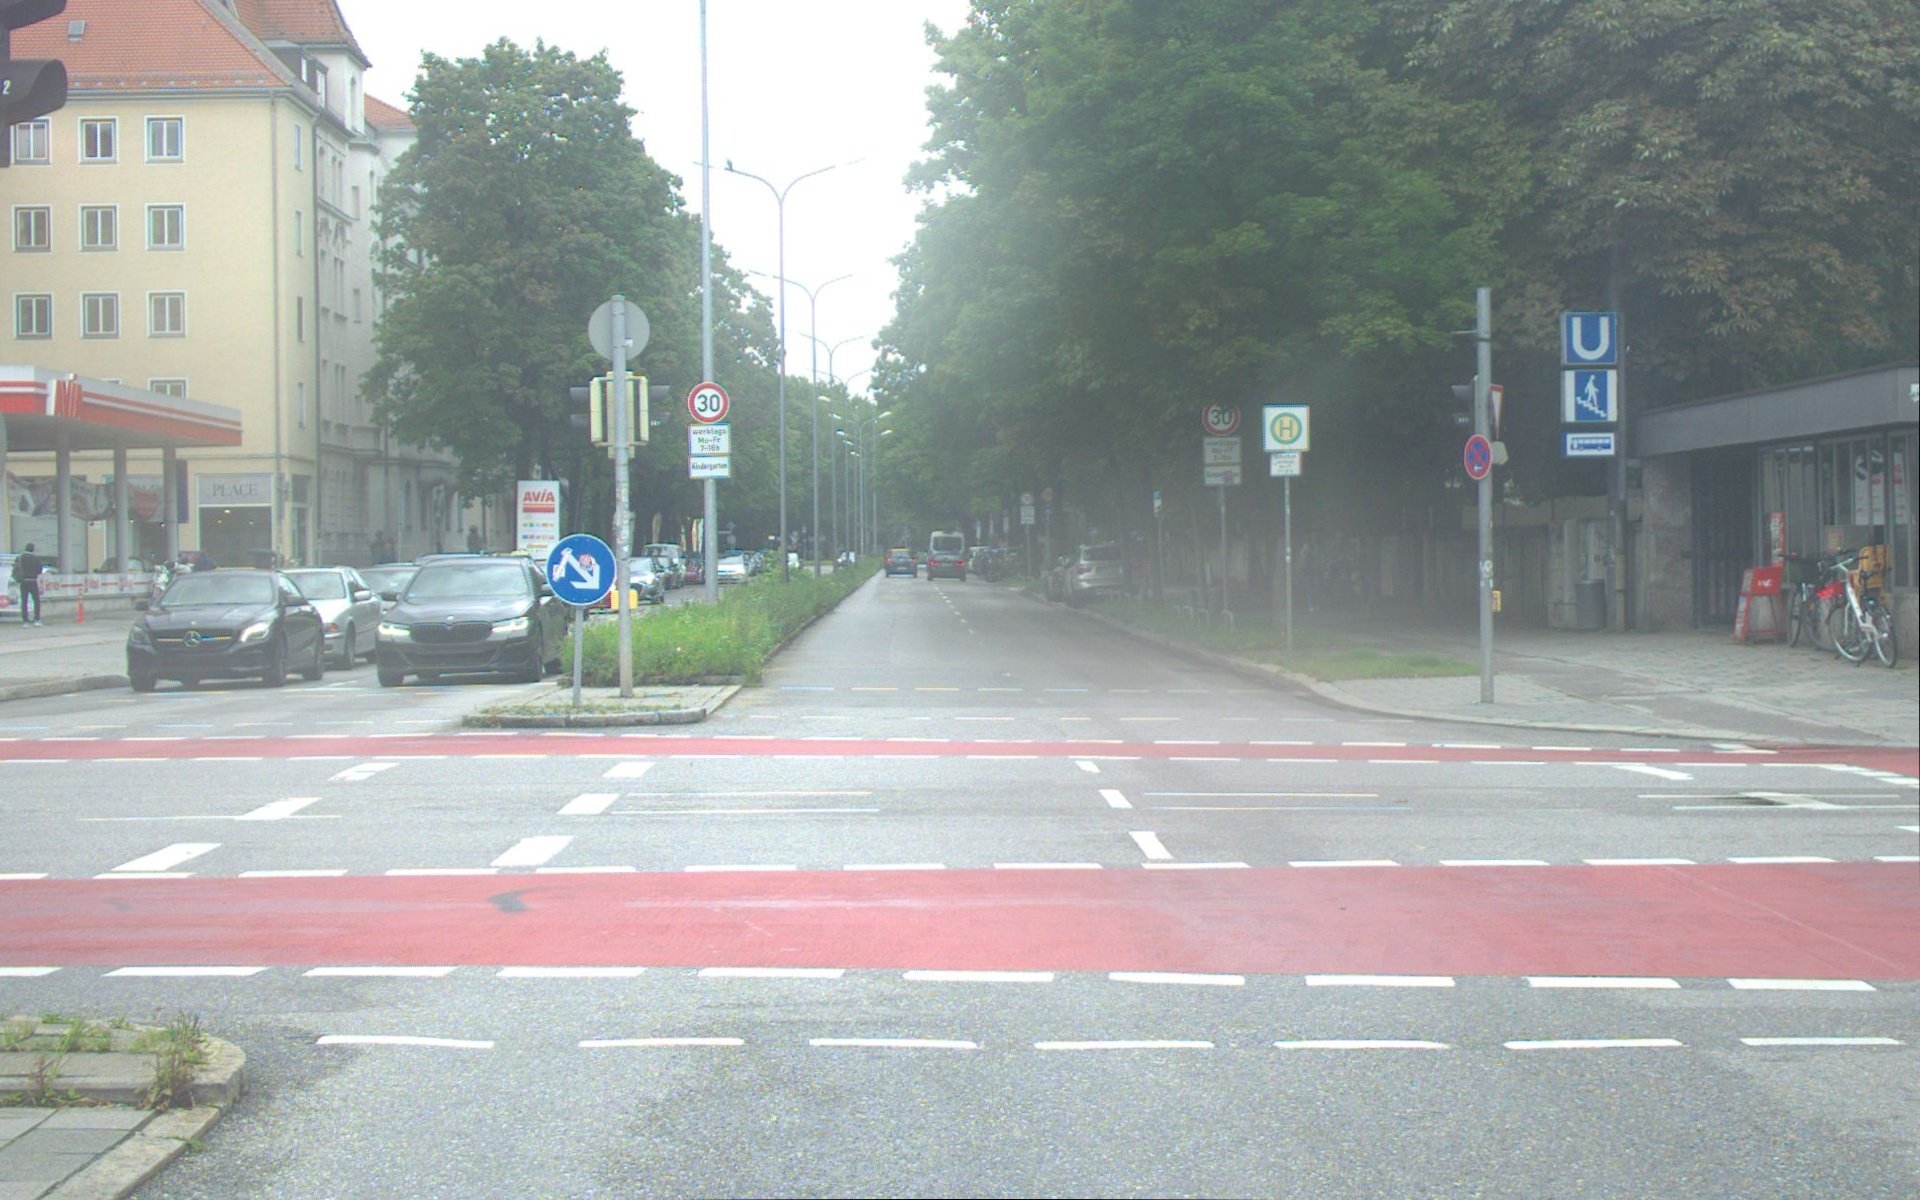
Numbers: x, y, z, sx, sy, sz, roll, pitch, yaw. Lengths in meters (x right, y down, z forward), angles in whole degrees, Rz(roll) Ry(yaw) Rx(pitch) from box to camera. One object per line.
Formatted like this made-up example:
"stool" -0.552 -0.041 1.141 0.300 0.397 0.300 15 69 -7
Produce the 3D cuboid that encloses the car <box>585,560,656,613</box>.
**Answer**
"car" -10.113 -0.419 102.600 1.759 1.488 4.000 -1 1 -1

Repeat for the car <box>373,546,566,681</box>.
"car" -5.731 0.119 40.544 1.759 1.488 4.000 -1 1 -1

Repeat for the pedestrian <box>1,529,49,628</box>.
"pedestrian" -19.316 -0.447 71.037 0.730 2.007 0.834 1 0 -1

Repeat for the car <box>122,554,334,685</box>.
"car" -8.759 0.196 41.444 1.759 1.455 4.000 -1 1 -1

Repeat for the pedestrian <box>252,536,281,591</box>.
"pedestrian" -20.631 -1.083 102.237 0.696 1.632 0.738 -1 1 -1

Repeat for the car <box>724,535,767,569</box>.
"car" -9.581 -2.147 153.675 1.759 1.455 4.000 -1 1 -1

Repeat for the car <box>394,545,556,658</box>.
"car" -6.748 -0.009 48.188 1.759 1.488 4.000 -1 1 -1

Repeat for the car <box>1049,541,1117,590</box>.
"car" 3.559 -1.022 99.799 1.743 1.358 3.807 -1 1 -1

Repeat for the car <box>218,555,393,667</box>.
"car" -9.158 0.123 48.371 1.759 1.455 4.000 -1 1 -1

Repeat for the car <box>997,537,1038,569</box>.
"car" 2.654 -2.188 159.302 1.743 1.422 3.899 -1 1 -1

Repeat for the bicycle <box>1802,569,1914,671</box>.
"bicycle" 9.406 0.196 36.078 0.556 1.011 2.016 -1 1 -3

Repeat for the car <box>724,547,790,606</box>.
"car" -5.021 -0.592 85.401 1.468 1.394 3.700 -1 1 -1

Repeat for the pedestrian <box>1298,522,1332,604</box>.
"pedestrian" 7.300 -0.762 70.653 0.678 1.677 0.682 0 1 5

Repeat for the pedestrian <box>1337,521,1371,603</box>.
"pedestrian" 8.103 -0.777 70.730 0.678 1.677 0.682 0 1 5

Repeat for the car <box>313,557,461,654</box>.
"car" -9.133 0.062 55.035 1.759 1.455 4.000 -1 1 -1

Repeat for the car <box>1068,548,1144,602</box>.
"car" 3.799 -0.670 89.720 1.743 1.358 3.807 -1 1 -1

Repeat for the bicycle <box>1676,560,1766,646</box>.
"bicycle" 9.335 0.028 42.229 0.556 1.011 2.016 -1 1 -3

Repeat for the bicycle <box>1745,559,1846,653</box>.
"bicycle" 9.416 0.058 38.810 0.556 1.011 2.016 -1 1 -3

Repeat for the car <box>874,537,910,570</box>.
"car" -3.608 -2.478 182.572 1.857 1.678 4.000 -1 1 -1

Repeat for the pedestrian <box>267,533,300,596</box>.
"pedestrian" -17.781 -0.935 90.374 0.696 1.632 0.738 -1 1 -1

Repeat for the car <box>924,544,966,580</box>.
"car" -0.704 -1.812 163.117 1.922 1.678 4.000 -1 1 -1
